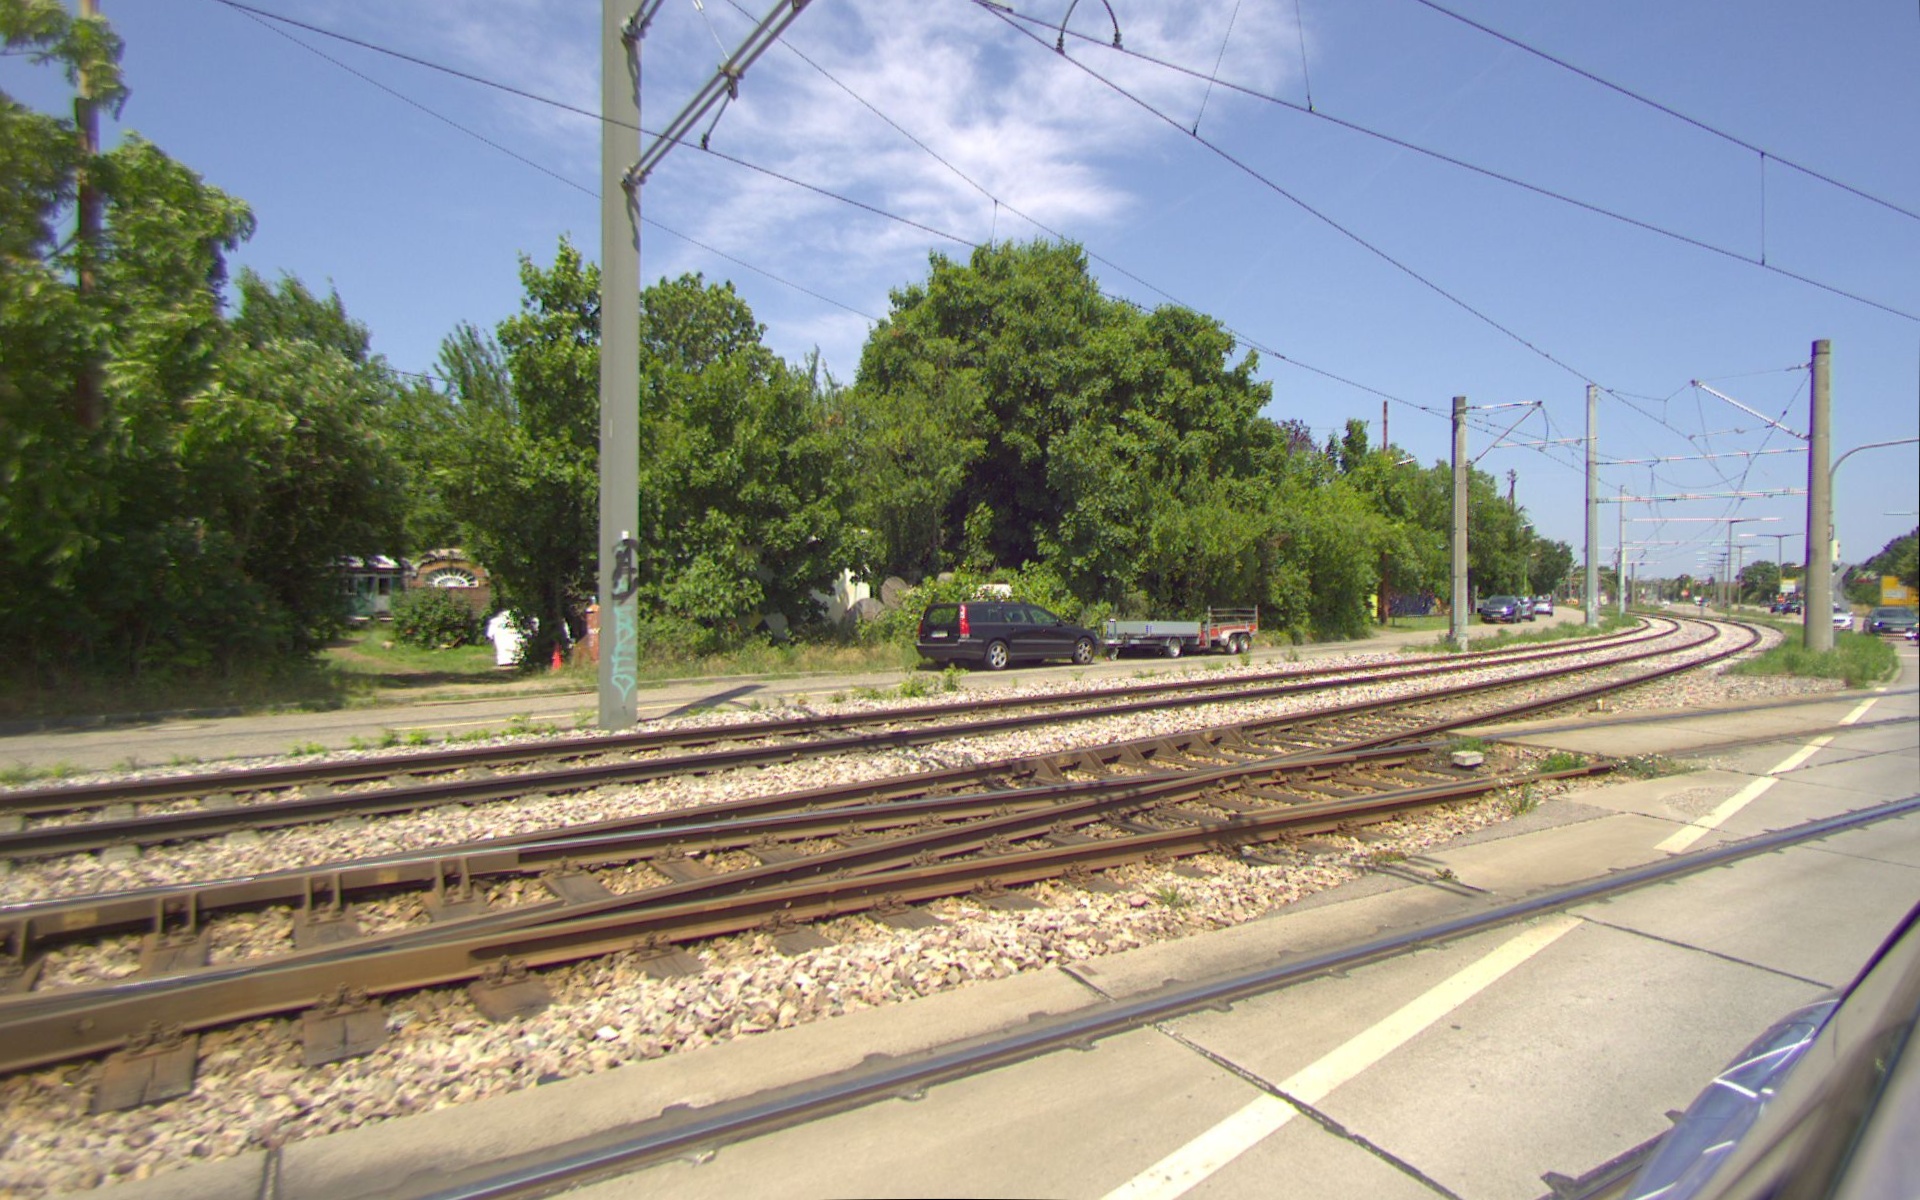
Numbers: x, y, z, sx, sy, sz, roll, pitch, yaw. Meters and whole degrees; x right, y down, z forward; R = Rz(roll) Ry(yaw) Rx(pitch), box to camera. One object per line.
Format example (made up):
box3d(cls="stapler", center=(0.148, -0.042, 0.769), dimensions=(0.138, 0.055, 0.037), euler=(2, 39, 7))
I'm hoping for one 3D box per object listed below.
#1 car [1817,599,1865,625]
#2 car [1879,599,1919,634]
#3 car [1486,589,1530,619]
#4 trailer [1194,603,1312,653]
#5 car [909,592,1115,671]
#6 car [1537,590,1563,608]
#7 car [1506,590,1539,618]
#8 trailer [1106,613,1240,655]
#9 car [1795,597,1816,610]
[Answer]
box3d(cls="car", center=(58.207, 0.774, 66.934), dimensions=(1.796, 1.492, 3.474), euler=(1, 2, 31))
box3d(cls="car", center=(44.430, 0.749, 47.584), dimensions=(1.502, 1.449, 3.314), euler=(1, 2, 37))
box3d(cls="car", center=(33.544, 0.199, 61.928), dimensions=(1.822, 1.677, 4.755), euler=(1, 2, 35))
box3d(cls="trailer", center=(8.505, 0.762, 29.198), dimensions=(3.932, 1.237, 1.464), euler=(-2, 2, -42))
box3d(cls="car", center=(1.232, 0.610, 22.290), dimensions=(4.660, 1.444, 1.799), euler=(-2, 2, -43))
box3d(cls="car", center=(50.122, -0.105, 85.945), dimensions=(1.674, 1.431, 4.496), euler=(1, 2, 33))
box3d(cls="car", center=(37.122, 0.220, 66.736), dimensions=(1.669, 1.644, 4.658), euler=(1, 2, 32))
box3d(cls="trailer", center=(5.618, 0.854, 26.494), dimensions=(3.932, 1.007, 1.420), euler=(0, -2, -43))
box3d(cls="car", center=(111.007, 0.441, 132.915), dimensions=(1.822, 1.622, 4.425), euler=(1, 0, 36))
